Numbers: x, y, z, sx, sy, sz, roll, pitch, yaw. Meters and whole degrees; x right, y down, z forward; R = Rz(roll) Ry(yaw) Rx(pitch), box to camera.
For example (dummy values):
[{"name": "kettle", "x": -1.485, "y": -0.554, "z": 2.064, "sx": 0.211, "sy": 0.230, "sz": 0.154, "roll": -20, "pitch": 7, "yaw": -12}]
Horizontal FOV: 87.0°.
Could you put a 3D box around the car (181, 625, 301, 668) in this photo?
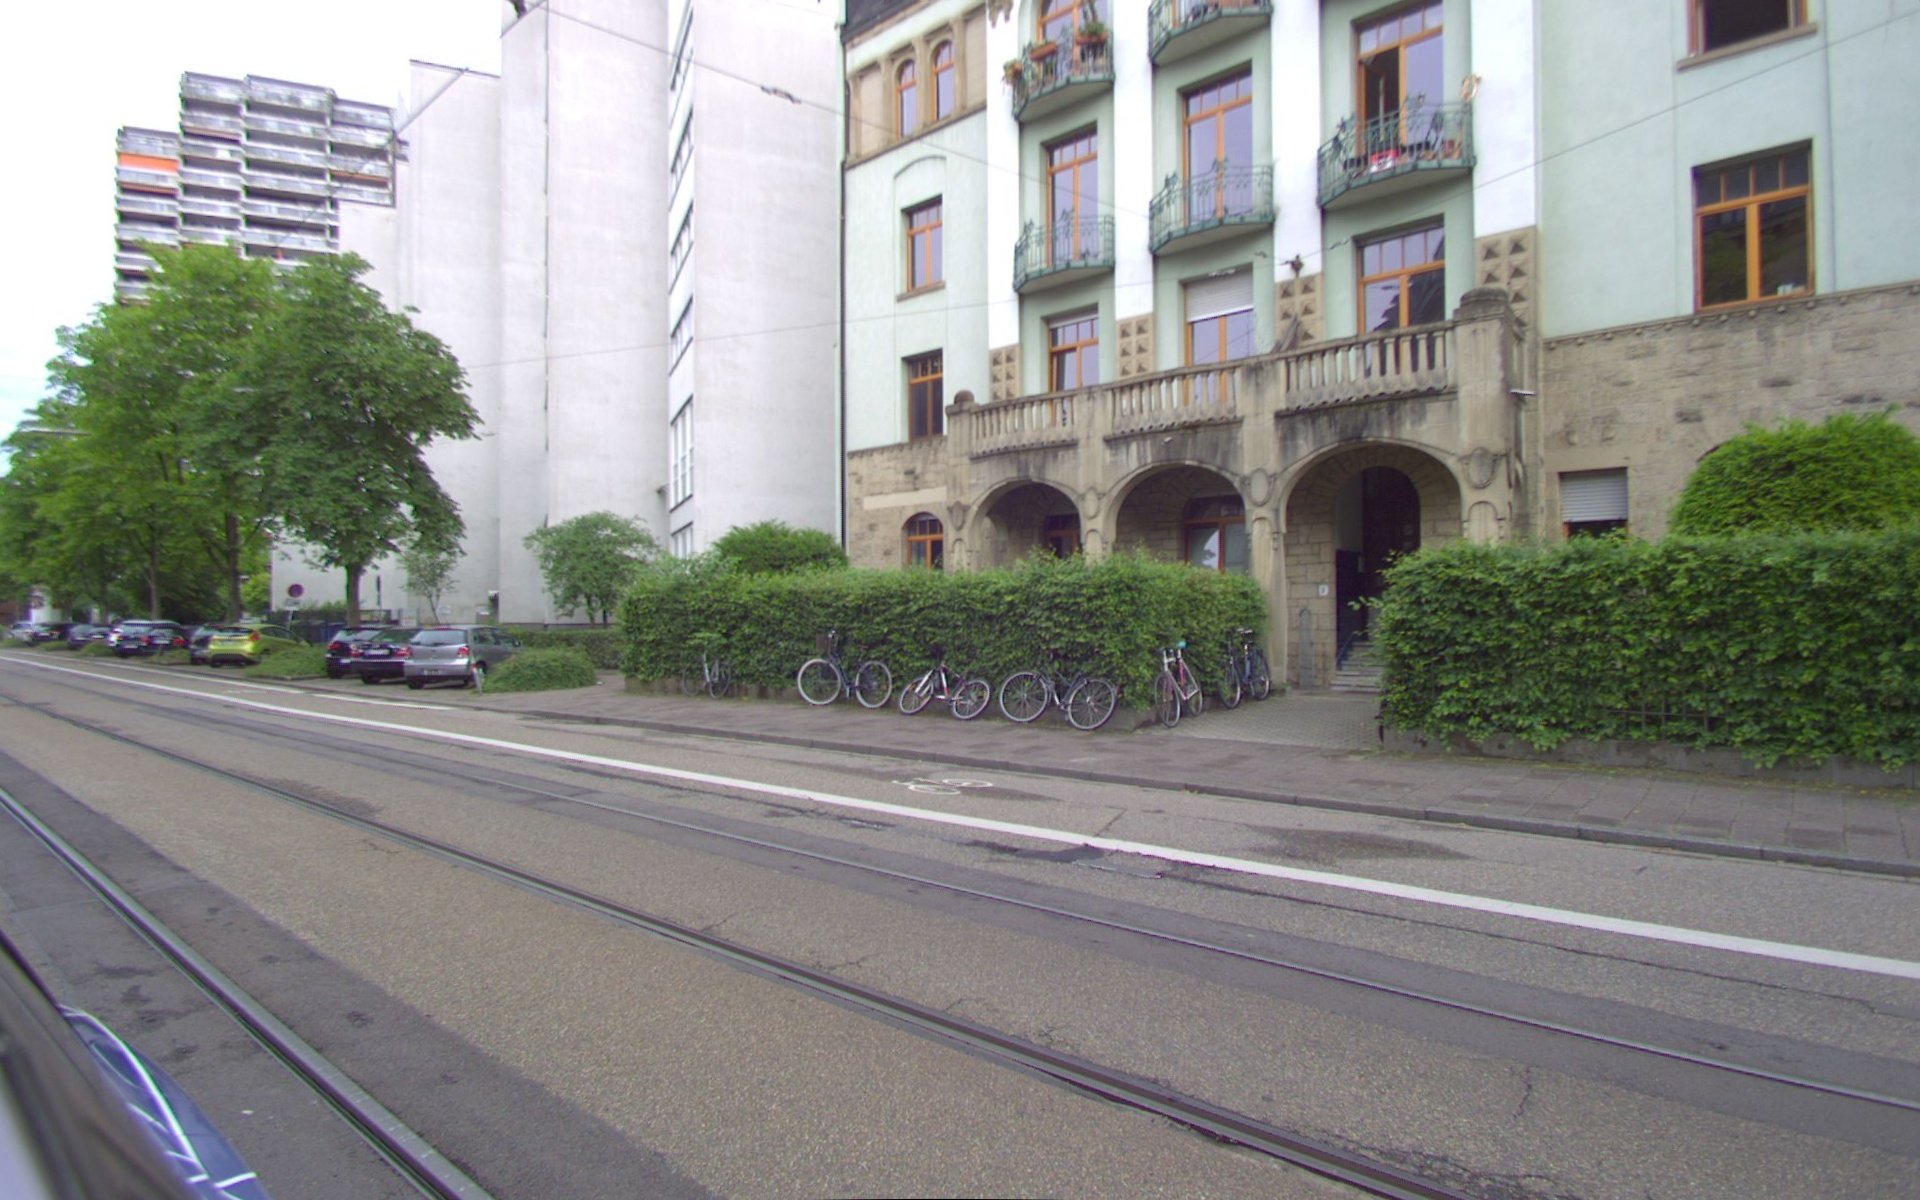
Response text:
[{"name": "car", "x": -26.066, "y": 1.639, "z": 36.865, "sx": 1.670, "sy": 1.453, "sz": 4.002, "roll": 0, "pitch": -1, "yaw": -3}]

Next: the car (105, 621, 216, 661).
[{"name": "car", "x": -33.742, "y": 1.696, "z": 42.845, "sx": 1.670, "sy": 1.632, "sz": 4.002, "roll": 0, "pitch": -1, "yaw": -3}]

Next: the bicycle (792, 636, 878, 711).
[{"name": "bicycle", "x": -1.921, "y": 1.097, "z": 15.434, "sx": 1.546, "sy": 1.092, "sz": 0.356, "roll": -1, "pitch": -2, "yaw": 41}]

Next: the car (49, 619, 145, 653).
[{"name": "car", "x": -44.247, "y": 1.829, "z": 52.001, "sx": 1.670, "sy": 1.632, "sz": 4.002, "roll": 0, "pitch": -1, "yaw": -3}]

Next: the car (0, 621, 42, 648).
[{"name": "car", "x": -59.653, "y": 2.172, "z": 64.120, "sx": 3.996, "sy": 1.632, "sz": 1.673, "roll": -1, "pitch": -2, "yaw": 39}]

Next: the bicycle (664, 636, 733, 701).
[{"name": "bicycle", "x": -4.595, "y": 1.185, "z": 17.750, "sx": 1.546, "sy": 1.092, "sz": 0.356, "roll": -1, "pitch": -2, "yaw": 41}]

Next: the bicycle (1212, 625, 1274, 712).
[{"name": "bicycle", "x": 3.930, "y": 0.925, "z": 14.025, "sx": 0.300, "sy": 1.091, "sz": 1.190, "roll": -2, "pitch": 1, "yaw": 42}]

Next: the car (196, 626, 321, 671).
[{"name": "car", "x": -23.913, "y": 1.617, "z": 34.692, "sx": 1.670, "sy": 1.405, "sz": 4.002, "roll": 0, "pitch": -1, "yaw": -3}]

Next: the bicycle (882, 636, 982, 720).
[{"name": "bicycle", "x": -0.409, "y": 1.057, "z": 14.002, "sx": 1.546, "sy": 1.092, "sz": 0.356, "roll": -1, "pitch": -2, "yaw": 41}]

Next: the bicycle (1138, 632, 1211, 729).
[{"name": "bicycle", "x": 2.671, "y": 0.972, "z": 12.538, "sx": 0.300, "sy": 1.091, "sz": 1.190, "roll": -2, "pitch": 1, "yaw": 42}]

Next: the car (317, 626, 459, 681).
[{"name": "car", "x": -15.879, "y": 1.451, "z": 28.357, "sx": 1.672, "sy": 1.413, "sz": 3.998, "roll": 0, "pitch": -1, "yaw": 1}]

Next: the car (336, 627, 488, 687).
[{"name": "car", "x": -13.880, "y": 1.403, "z": 25.913, "sx": 1.672, "sy": 1.413, "sz": 3.998, "roll": 0, "pitch": -1, "yaw": 1}]

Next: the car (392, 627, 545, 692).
[{"name": "car", "x": -11.602, "y": 1.357, "z": 24.192, "sx": 1.672, "sy": 1.413, "sz": 3.998, "roll": 0, "pitch": -1, "yaw": 1}]

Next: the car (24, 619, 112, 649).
[{"name": "car", "x": -51.195, "y": 1.920, "z": 58.187, "sx": 1.670, "sy": 1.632, "sz": 4.002, "roll": 0, "pitch": -1, "yaw": -3}]

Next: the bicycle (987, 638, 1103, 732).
[{"name": "bicycle", "x": 1.041, "y": 1.035, "z": 12.673, "sx": 1.546, "sy": 1.092, "sz": 0.356, "roll": -1, "pitch": -2, "yaw": 41}]
